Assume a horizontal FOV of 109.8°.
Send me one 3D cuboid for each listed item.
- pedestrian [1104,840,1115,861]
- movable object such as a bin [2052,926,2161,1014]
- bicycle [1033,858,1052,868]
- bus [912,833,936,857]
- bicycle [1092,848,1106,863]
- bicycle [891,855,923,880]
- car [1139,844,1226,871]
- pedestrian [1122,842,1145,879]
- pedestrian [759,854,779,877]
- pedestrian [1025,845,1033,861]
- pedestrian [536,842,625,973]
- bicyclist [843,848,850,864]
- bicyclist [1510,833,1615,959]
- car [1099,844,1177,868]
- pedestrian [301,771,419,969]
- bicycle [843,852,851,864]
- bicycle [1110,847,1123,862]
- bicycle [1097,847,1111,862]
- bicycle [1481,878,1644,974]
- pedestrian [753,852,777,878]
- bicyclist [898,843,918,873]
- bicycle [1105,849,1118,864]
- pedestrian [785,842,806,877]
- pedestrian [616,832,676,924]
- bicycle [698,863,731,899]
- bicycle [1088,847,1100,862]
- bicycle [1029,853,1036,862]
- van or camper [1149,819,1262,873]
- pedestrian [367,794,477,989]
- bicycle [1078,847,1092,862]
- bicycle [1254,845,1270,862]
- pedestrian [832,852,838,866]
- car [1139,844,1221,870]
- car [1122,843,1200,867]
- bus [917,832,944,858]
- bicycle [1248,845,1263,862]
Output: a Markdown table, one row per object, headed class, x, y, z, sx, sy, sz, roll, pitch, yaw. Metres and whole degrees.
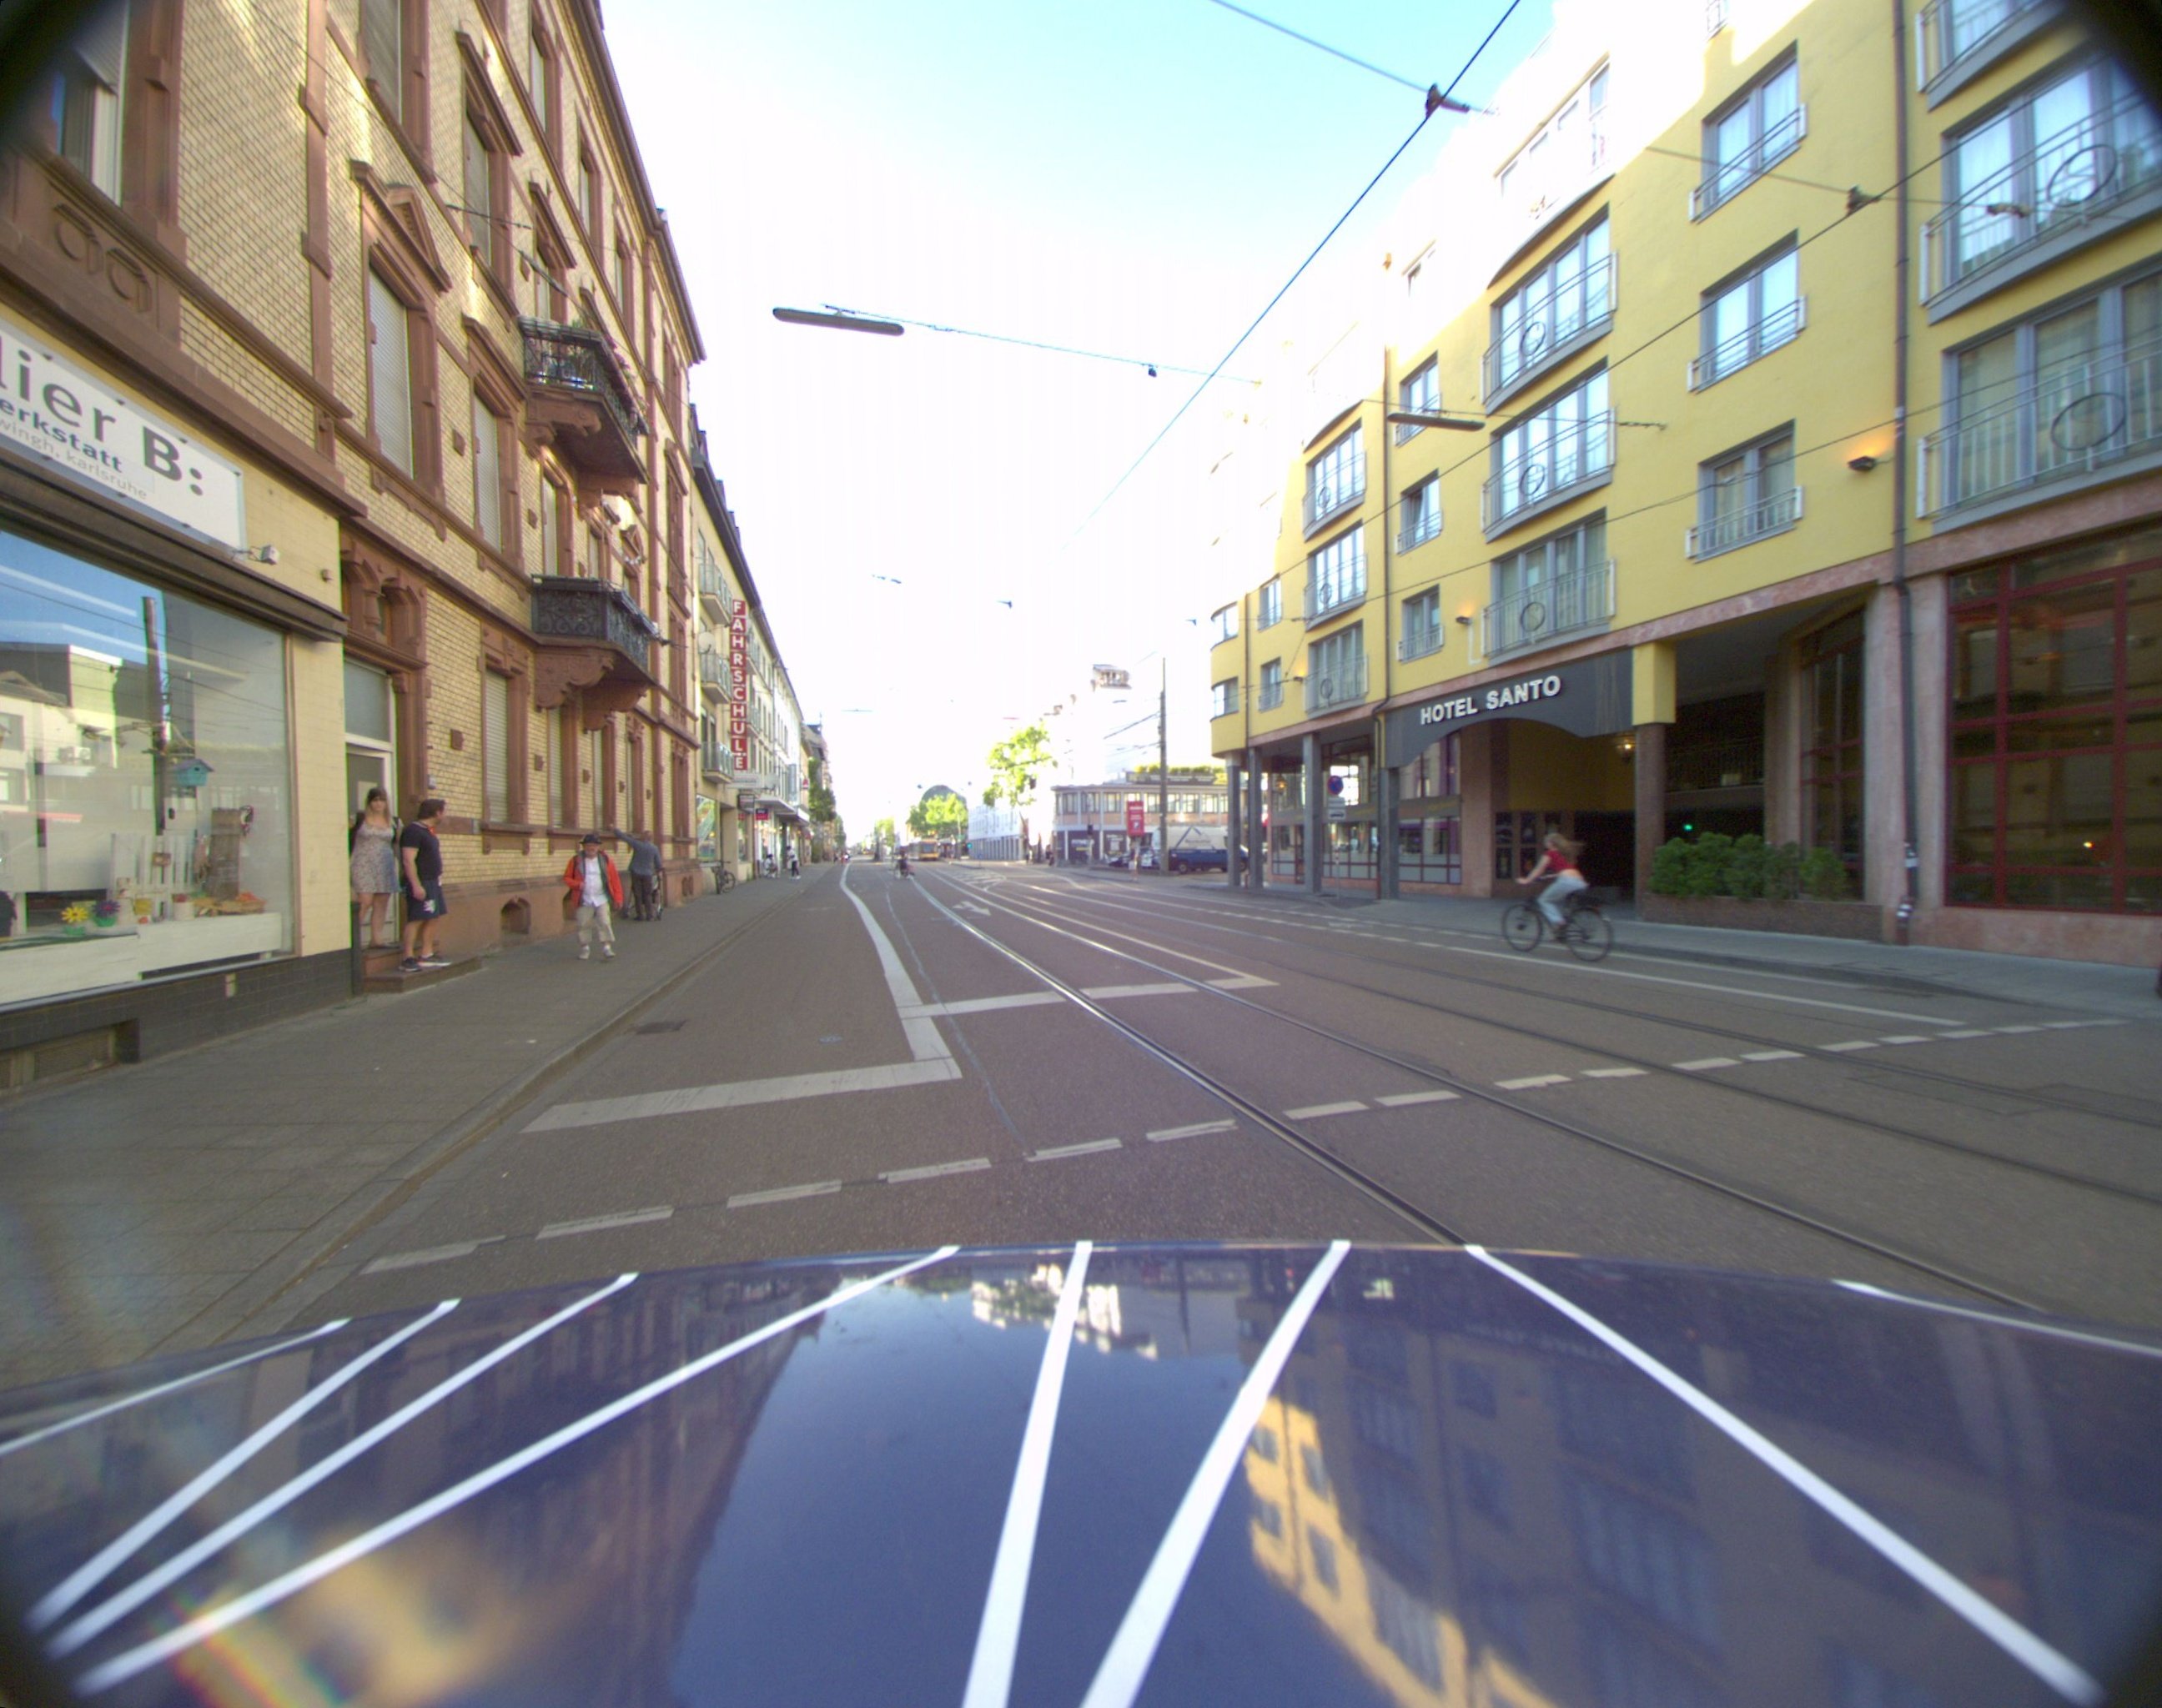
| class | x | y | z | sx | sy | sz | roll | pitch | yaw |
| --- | --- | --- | --- | --- | --- | --- | --- | --- | --- |
| pedestrian | 2.247 | -0.259 | 60.575 | 0.683 | 1.687 | 0.682 | -1 | 1 | -18 |
| movable object such as a bin | 10.010 | 1.100 | 7.233 | 0.384 | 0.712 | 0.840 | -6 | 2 | -15 |
| bicycle | -3.966 | 0.893 | 78.535 | 1.851 | 0.906 | 0.389 | -2 | -4 | -11 |
| bus | -25.363 | -1.423 | 122.150 | 2.822 | 3.547 | 13.658 | -1 | 1 | -16 |
| bicycle | 1.440 | 0.114 | 60.512 | 0.450 | 1.180 | 1.828 | -1 | 0 | -19 |
| bicycle | -9.388 | 0.709 | 41.051 | 0.681 | 1.165 | 1.834 | 4 | 5 | 25 |
| car | 5.854 | 0.206 | 43.847 | 4.606 | 1.467 | 1.877 | -1 | 0 | -16 |
| pedestrian | 2.581 | 0.315 | 37.254 | 0.836 | 1.822 | 0.908 | -1 | 1 | -17 |
| pedestrian | -16.583 | 0.602 | 40.379 | 0.709 | 1.167 | 1.013 | 5 | -1 | -35 |
| pedestrian | -5.445 | -0.140 | 79.723 | 0.631 | 1.706 | 0.825 | 0 | 1 | 11 |
| pedestrian | -6.508 | 0.693 | 9.934 | 0.802 | 1.618 | 0.823 | 5 | -2 | -29 |
| bicyclist | -23.596 | 0.175 | 76.468 | 0.678 | 1.604 | 0.836 | -2 | 1 | -18 |
| bicyclist | 6.574 | 0.540 | 10.411 | 0.704 | 1.634 | 0.989 | -1 | 1 | -17 |
| car | 3.860 | 0.126 | 51.486 | 4.913 | 1.574 | 1.877 | -1 | 0 | -16 |
| pedestrian | -7.250 | 0.164 | 7.675 | 0.516 | 1.894 | 0.594 | 4 | -2 | -15 |
| bicycle | -23.623 | 0.407 | 76.595 | 0.683 | 1.164 | 1.828 | -2 | 1 | -18 |
| bicycle | 2.829 | 0.060 | 60.819 | 0.450 | 1.180 | 1.828 | -1 | 0 | -19 |
| bicycle | 1.835 | 0.062 | 60.771 | 0.444 | 1.180 | 1.828 | -1 | 0 | -19 |
| bicycle | 6.559 | 0.930 | 10.482 | 0.699 | 1.103 | 1.895 | -1 | 1 | -18 |
| pedestrian | -16.345 | 0.563 | 39.314 | 0.705 | 1.248 | 0.833 | 4 | -1 | 39 |
| bicyclist | -9.341 | 0.189 | 41.068 | 0.689 | 1.541 | 0.838 | 4 | 5 | 25 |
| bicycle | 2.420 | 0.176 | 60.611 | 0.450 | 1.180 | 1.828 | -1 | 0 | -19 |
| pedestrian | -15.183 | 0.305 | 40.419 | 0.706 | 1.801 | 0.679 | 5 | -1 | -1 |
| pedestrian | -8.776 | 0.481 | 15.375 | 0.808 | 1.789 | 0.760 | 3 | -1 | -16 |
| bicycle | -11.781 | 0.840 | 24.492 | 0.557 | 1.055 | 2.307 | 2 | 0 | -16 |
| bicycle | 1.013 | 0.063 | 60.352 | 0.442 | 1.180 | 1.829 | -1 | 0 | -17 |
| bicycle | -5.031 | 0.321 | 78.652 | 0.389 | 0.907 | 1.848 | -2 | 1 | -15 |
| van or camper | 6.799 | -0.438 | 41.548 | 5.628 | 2.810 | 2.312 | -1 | 0 | -15 |
| pedestrian | -6.725 | 0.384 | 7.790 | 0.516 | 1.894 | 0.594 | 4 | -2 | -15 |
| bicycle | 0.333 | 0.034 | 60.655 | 0.447 | 1.180 | 1.828 | -1 | 0 | -22 |
| bicycle | 12.989 | -0.053 | 54.564 | 0.433 | 1.180 | 1.830 | -1 | 0 | -9 |
| pedestrian | -30.498 | 0.607 | 94.141 | 0.651 | 1.706 | 0.805 | -1 | 1 | -12 |
| car | 6.057 | 0.176 | 46.603 | 4.606 | 1.467 | 1.877 | -1 | 0 | -16 |
| car | 5.147 | 0.039 | 48.729 | 4.606 | 1.467 | 1.877 | -1 | 0 | -16 |
| bus | -21.798 | -1.298 | 109.165 | 2.822 | 3.547 | 13.658 | -1 | 1 | -15 |
| bicycle | 12.506 | -0.041 | 54.489 | 0.433 | 1.180 | 1.830 | -1 | 0 | -9 |
